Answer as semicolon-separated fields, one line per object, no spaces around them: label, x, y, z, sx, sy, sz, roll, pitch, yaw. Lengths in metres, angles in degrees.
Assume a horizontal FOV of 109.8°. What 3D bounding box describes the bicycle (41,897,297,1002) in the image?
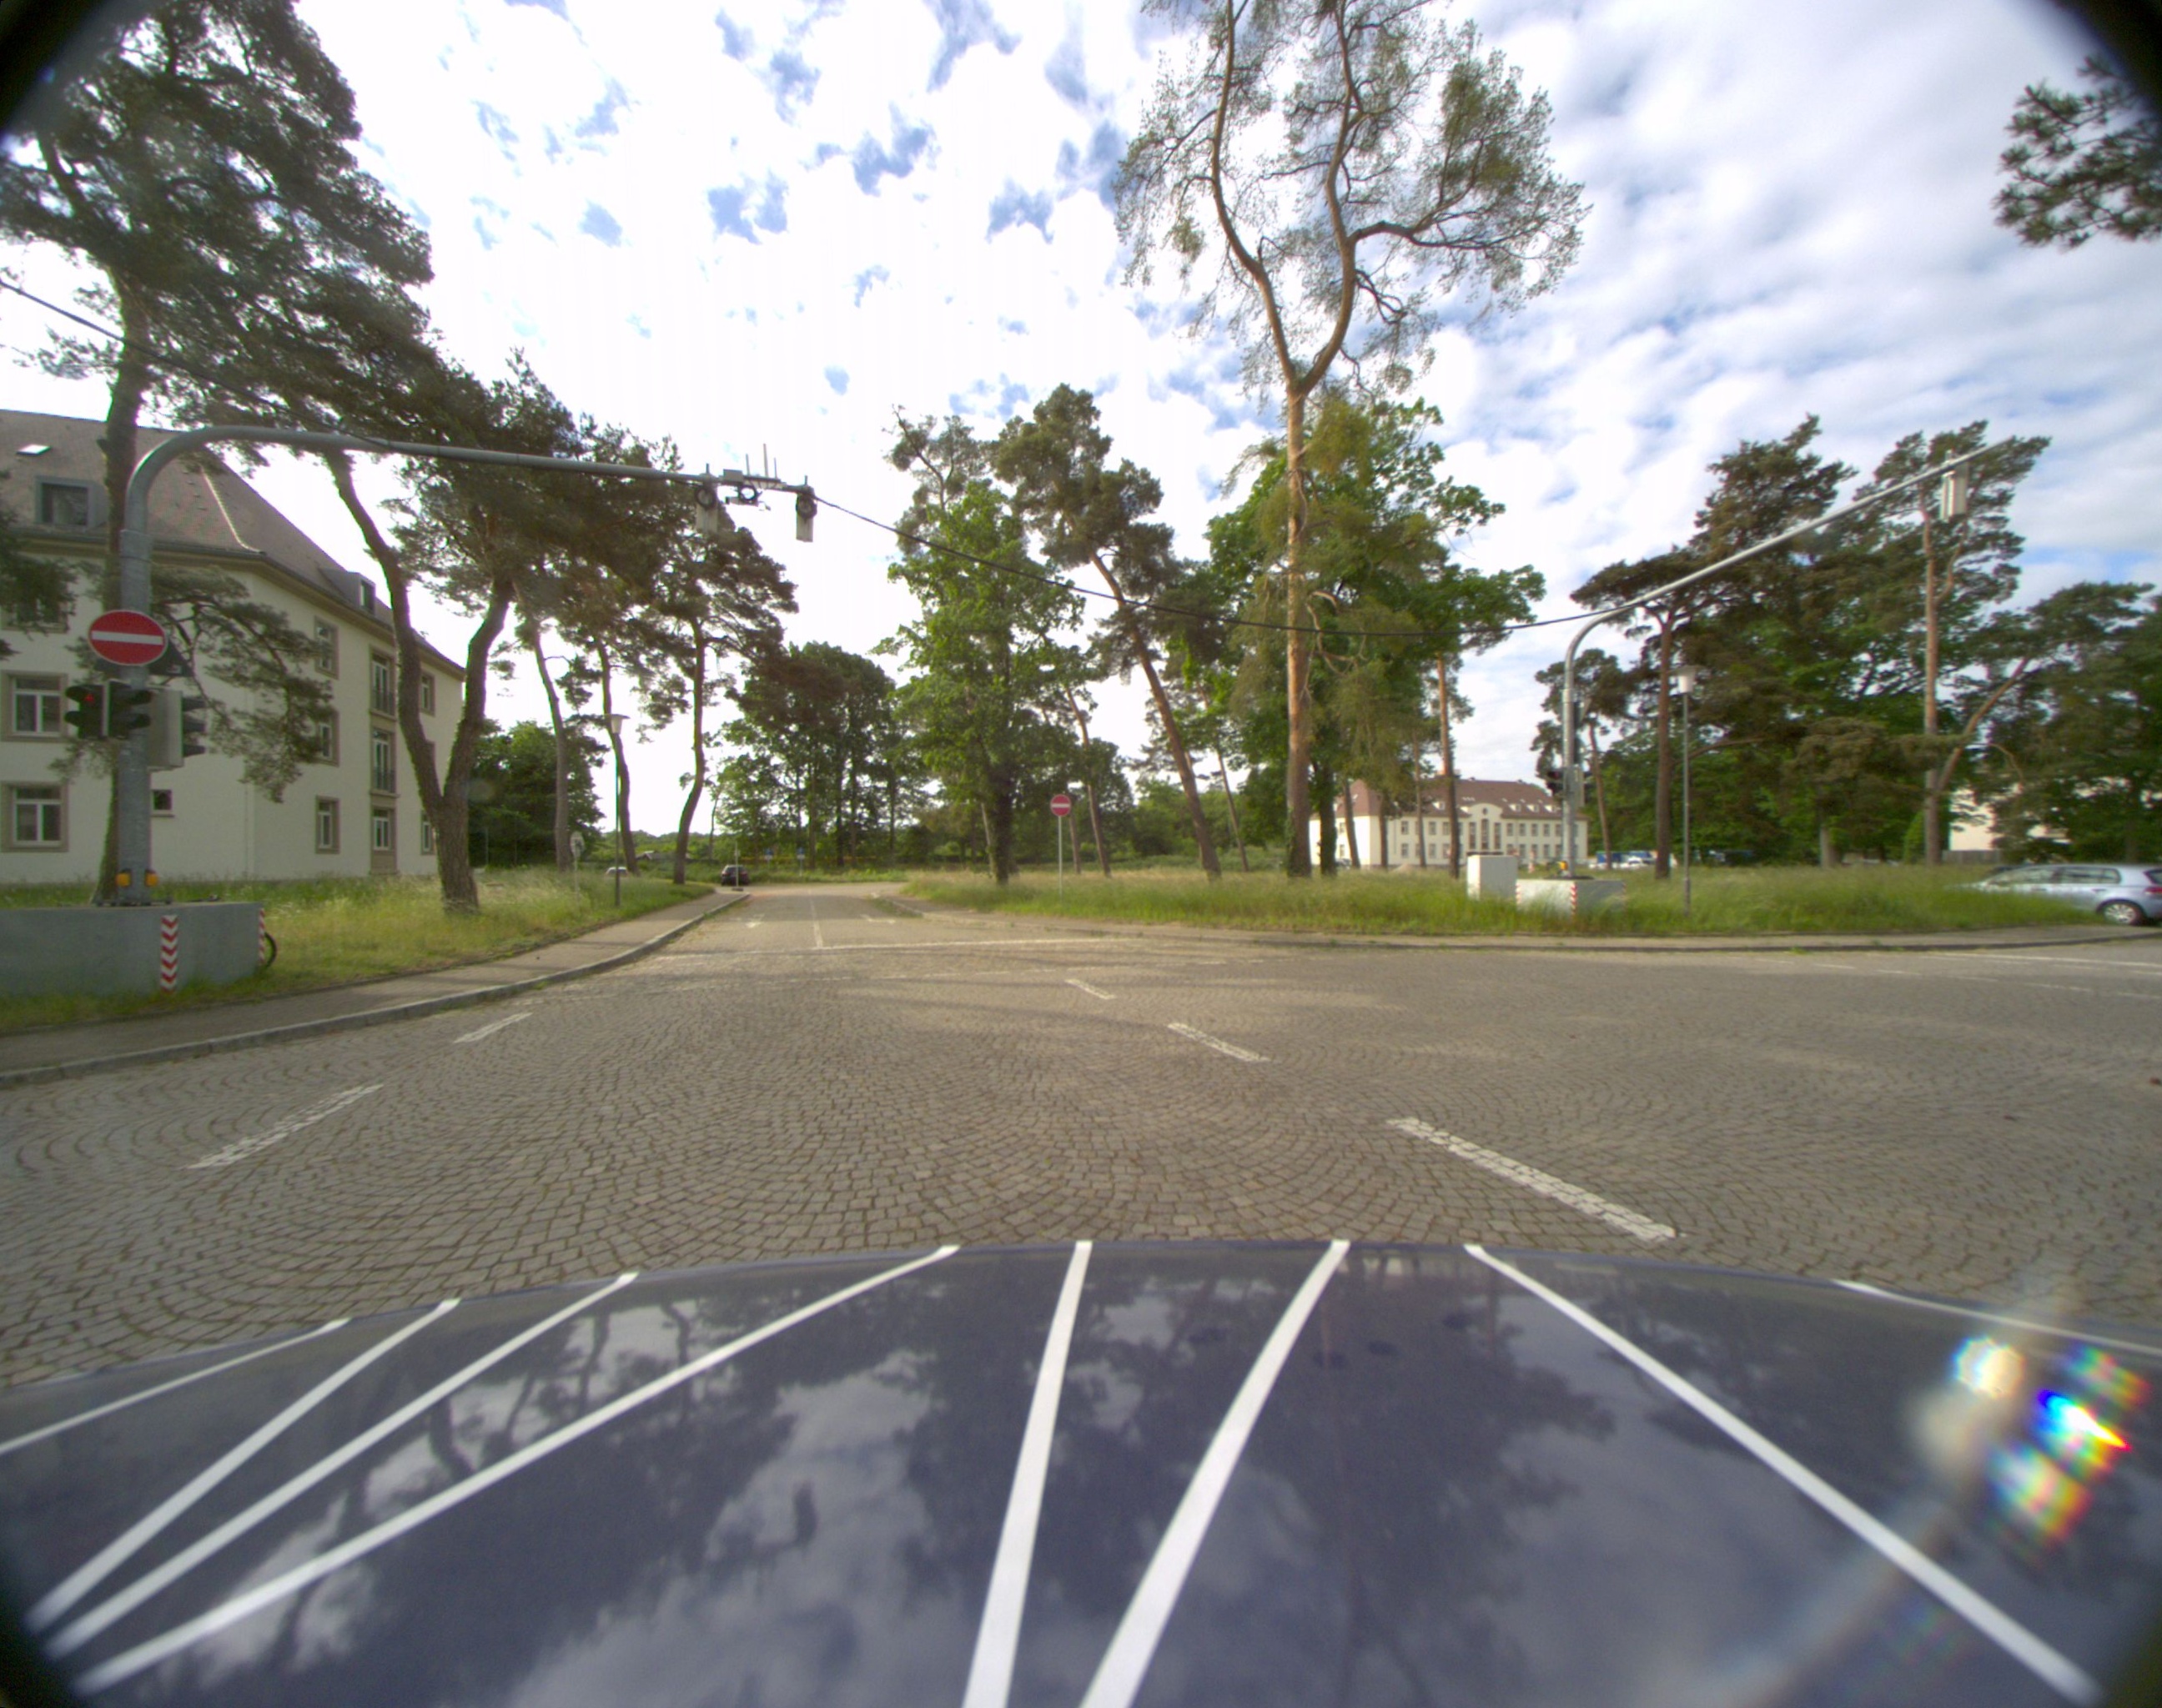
bicycle;-10.875;1.110;9.156;1.836;1.057;0.645;0;4;-23

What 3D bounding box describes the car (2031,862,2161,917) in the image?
car;29.598;0.959;20.709;1.798;1.437;4.264;0;0;-17

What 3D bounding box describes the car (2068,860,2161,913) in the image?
car;31.713;0.929;21.694;1.798;1.504;3.930;0;0;-17

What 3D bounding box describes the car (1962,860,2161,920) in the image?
car;26.970;0.889;19.972;1.798;1.437;4.626;0;0;-19

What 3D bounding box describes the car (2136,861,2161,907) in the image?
car;36.456;0.985;23.605;1.798;1.467;3.930;0;0;-18

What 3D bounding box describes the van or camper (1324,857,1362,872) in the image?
van or camper;41.782;1.591;121.330;2.468;2.293;6.116;0;0;-21

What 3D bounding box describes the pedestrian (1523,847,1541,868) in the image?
pedestrian;47.915;0.345;80.717;1.057;2.165;1.183;0;0;-19

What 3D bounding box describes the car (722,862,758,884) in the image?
car;-25.299;1.391;56.444;2.002;1.524;3.994;0;0;-18

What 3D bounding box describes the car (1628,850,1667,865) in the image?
car;79.269;0.508;106.294;4.839;2.002;2.163;0;0;-21

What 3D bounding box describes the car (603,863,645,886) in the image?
car;-32.736;1.462;54.551;1.774;1.524;3.688;0;0;-18

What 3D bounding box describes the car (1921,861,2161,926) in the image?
car;24.419;0.913;19.148;1.798;1.410;3.994;0;0;-18

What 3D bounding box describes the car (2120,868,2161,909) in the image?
car;34.084;1.046;22.266;1.798;1.227;3.930;0;0;-18
